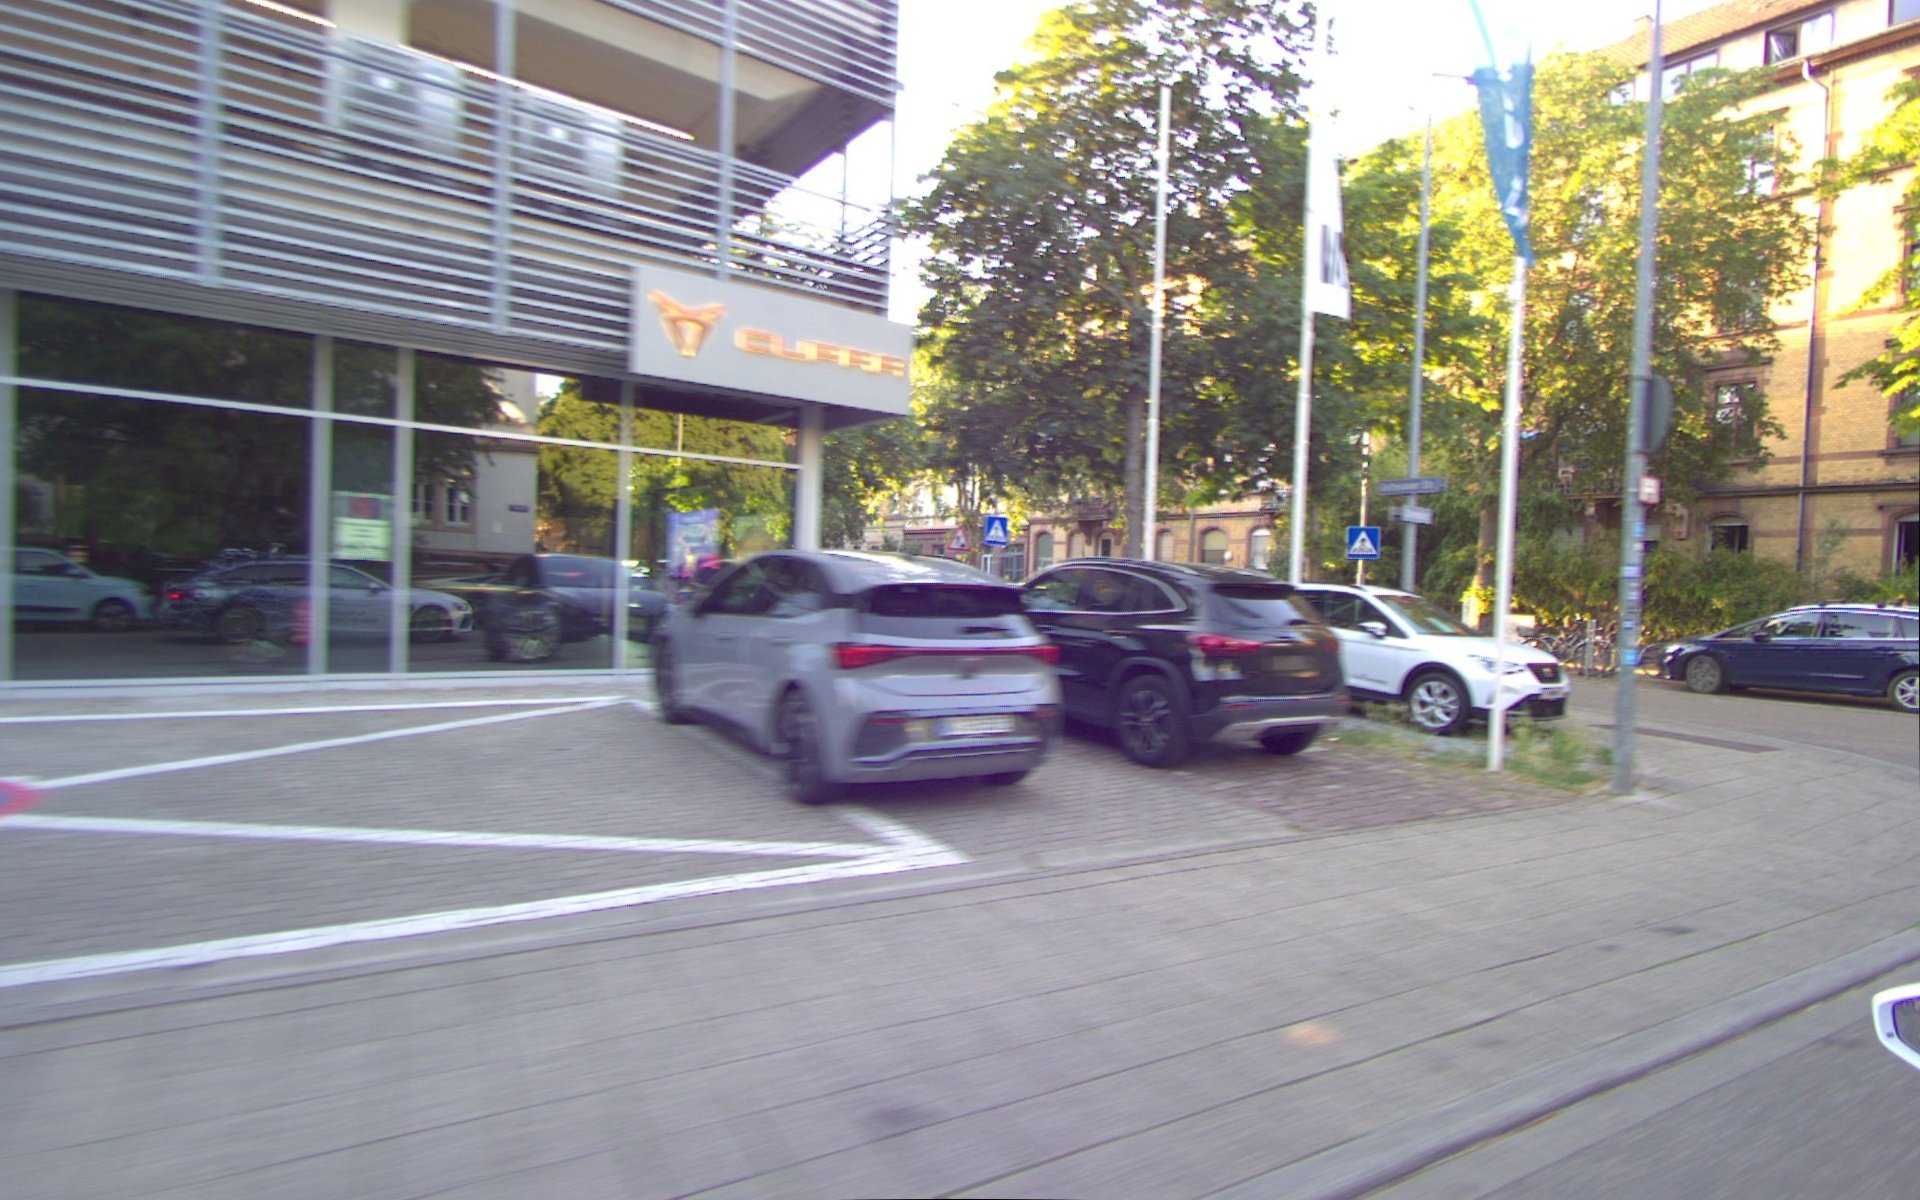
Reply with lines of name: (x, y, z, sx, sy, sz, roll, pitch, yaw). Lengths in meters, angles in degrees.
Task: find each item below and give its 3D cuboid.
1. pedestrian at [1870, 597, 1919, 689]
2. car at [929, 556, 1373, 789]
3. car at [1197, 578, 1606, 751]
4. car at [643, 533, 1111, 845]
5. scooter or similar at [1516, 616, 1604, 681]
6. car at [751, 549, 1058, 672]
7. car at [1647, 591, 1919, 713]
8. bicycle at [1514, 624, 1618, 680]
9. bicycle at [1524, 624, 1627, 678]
pedestrian: (17.341, 0.781, 18.638, 0.443, 1.657, 0.539, 0, 2, -34)
car: (1.469, 0.450, 9.233, 1.745, 1.640, 4.045, 0, 2, -31)
car: (4.985, 0.589, 11.897, 1.900, 1.495, 4.020, 0, 4, -33)
car: (-0.934, 0.370, 7.624, 1.891, 1.640, 4.107, 0, 4, -31)
scooter or similar: (12.370, 0.984, 20.720, 1.493, 1.241, 0.444, 2, 2, 37)
car: (-0.745, 0.154, 14.681, 4.178, 1.571, 1.692, 1, 1, -33)
car: (14.969, 0.824, 17.272, 1.901, 1.756, 4.796, 0, 3, -35)
bicycle: (12.814, 1.078, 21.268, 1.831, 1.042, 0.444, 2, 2, 37)
bicycle: (13.234, 1.078, 21.615, 1.831, 1.042, 0.444, 2, 2, 37)
